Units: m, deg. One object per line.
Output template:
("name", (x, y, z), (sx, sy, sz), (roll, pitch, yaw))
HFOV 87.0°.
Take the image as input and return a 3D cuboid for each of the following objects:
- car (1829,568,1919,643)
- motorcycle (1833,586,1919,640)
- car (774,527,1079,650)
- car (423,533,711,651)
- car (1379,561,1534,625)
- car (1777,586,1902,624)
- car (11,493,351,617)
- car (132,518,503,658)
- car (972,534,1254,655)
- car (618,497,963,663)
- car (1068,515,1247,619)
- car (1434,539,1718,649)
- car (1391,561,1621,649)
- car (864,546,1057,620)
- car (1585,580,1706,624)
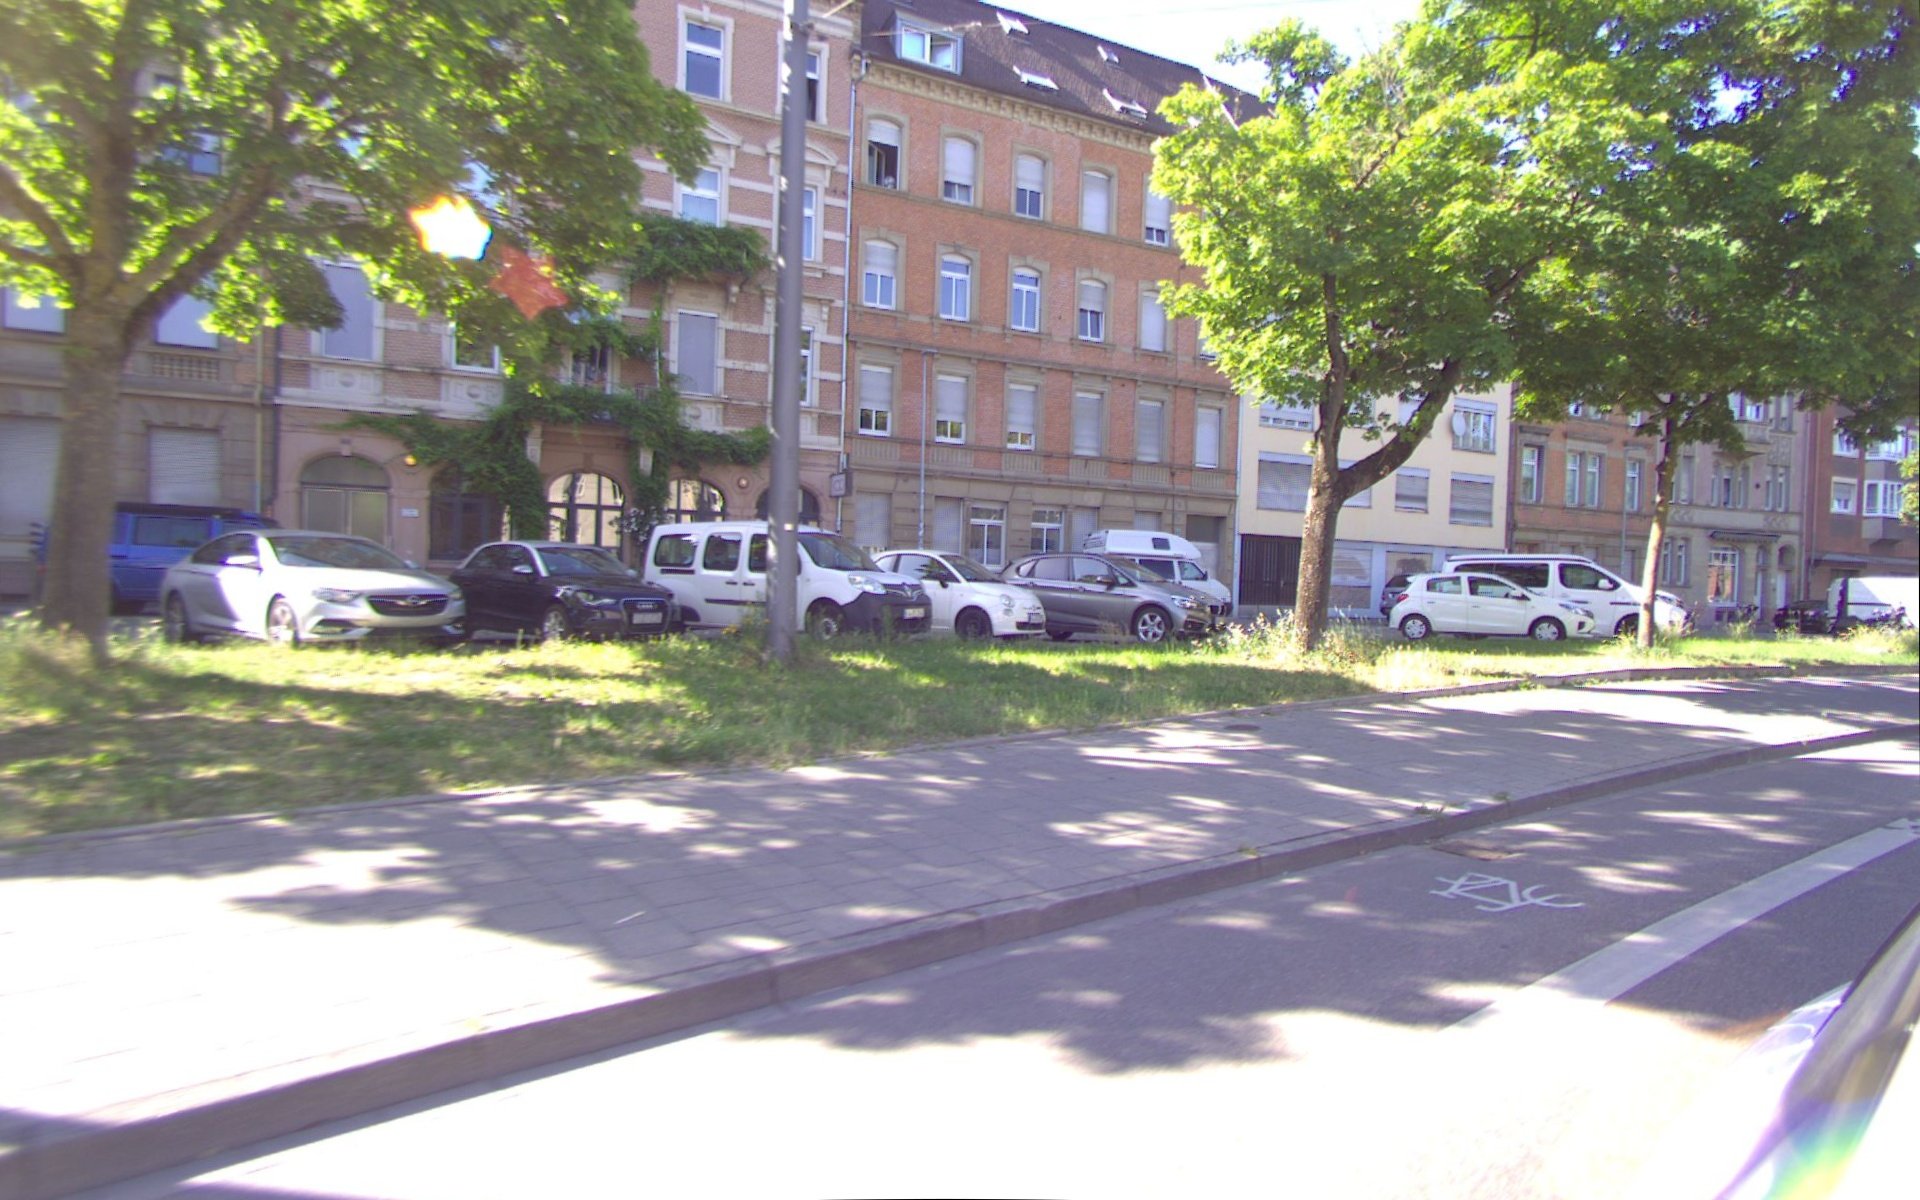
("car", (29.317, 0.242, 30.136), (4.844, 2.100, 1.998), (4, 3, 32))
("motorcycle", (26.579, 0.371, 28.915), (2.231, 1.438, 0.850), (3, 2, 17))
("car", (-0.664, -0.295, 16.896), (4.854, 1.667, 2.073), (5, 4, 37))
("car", (-5.356, -0.164, 13.726), (3.588, 1.397, 1.903), (2, 1, 33))
("car", (16.062, -0.215, 32.747), (4.530, 1.821, 2.005), (2, 3, -25))
("car", (36.301, 0.223, 41.785), (4.395, 1.493, 2.003), (0, -2, -21))
("car", (-14.199, -0.801, 18.836), (4.625, 2.001, 2.005), (2, 3, -24))
("car", (-7.881, -0.211, 12.286), (4.718, 1.397, 2.022), (2, 1, 33))
("car", (2.621, -0.189, 17.848), (4.489, 1.748, 1.974), (5, 4, 37))
("car", (-2.567, -0.409, 14.880), (4.845, 2.037, 2.077), (4, 4, 32))
("car", (5.480, -0.901, 28.137), (4.418, 2.616, 2.005), (2, 2, -23))
("car", (13.686, -0.237, 22.687), (5.159, 2.037, 2.073), (5, 4, 37))
("car", (11.299, 0.024, 21.066), (4.002, 1.496, 1.792), (4, 4, 33))
("car", (0.004, -0.416, 25.572), (4.418, 1.712, 2.004), (1, 1, -23))
("car", (25.440, 0.063, 37.550), (4.203, 1.438, 1.737), (2, 2, -24))
